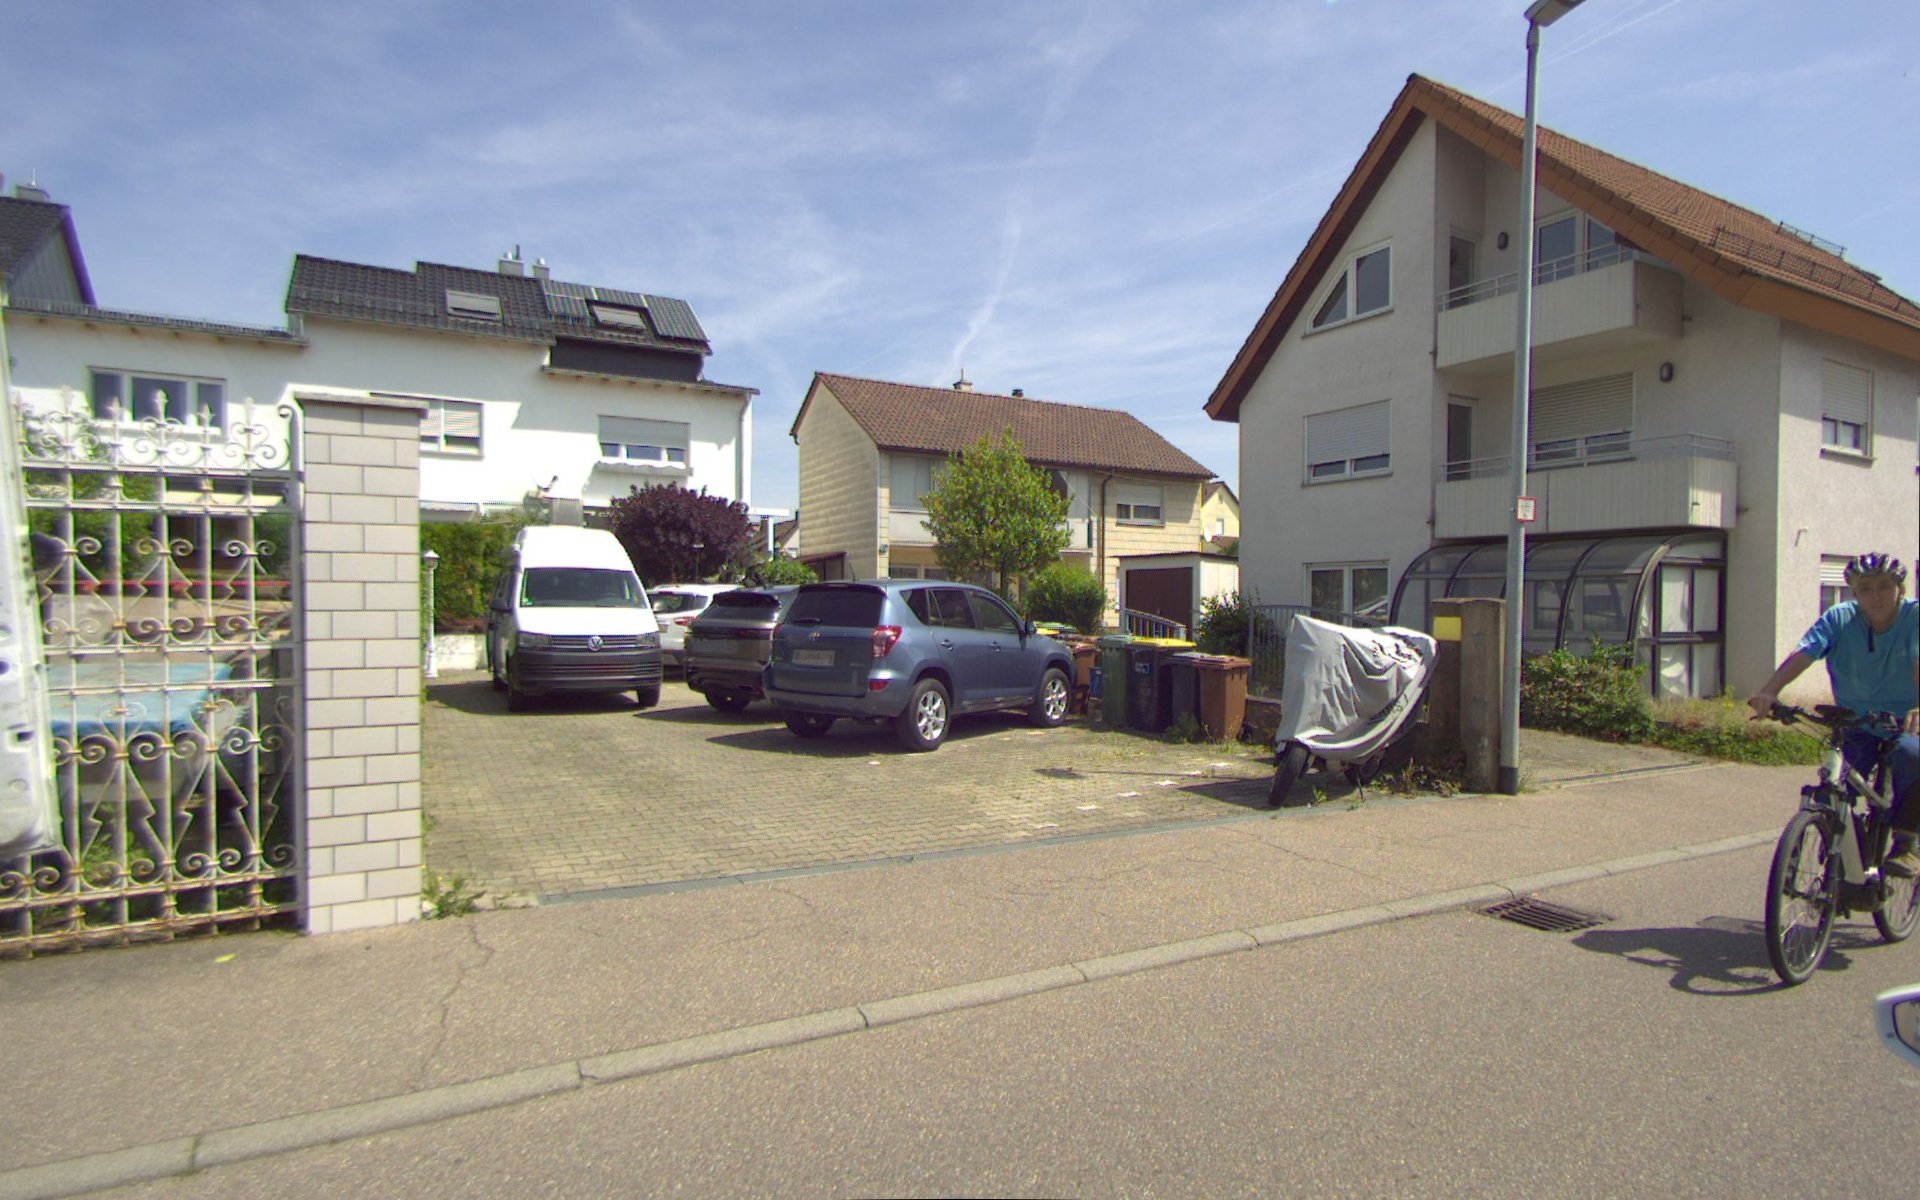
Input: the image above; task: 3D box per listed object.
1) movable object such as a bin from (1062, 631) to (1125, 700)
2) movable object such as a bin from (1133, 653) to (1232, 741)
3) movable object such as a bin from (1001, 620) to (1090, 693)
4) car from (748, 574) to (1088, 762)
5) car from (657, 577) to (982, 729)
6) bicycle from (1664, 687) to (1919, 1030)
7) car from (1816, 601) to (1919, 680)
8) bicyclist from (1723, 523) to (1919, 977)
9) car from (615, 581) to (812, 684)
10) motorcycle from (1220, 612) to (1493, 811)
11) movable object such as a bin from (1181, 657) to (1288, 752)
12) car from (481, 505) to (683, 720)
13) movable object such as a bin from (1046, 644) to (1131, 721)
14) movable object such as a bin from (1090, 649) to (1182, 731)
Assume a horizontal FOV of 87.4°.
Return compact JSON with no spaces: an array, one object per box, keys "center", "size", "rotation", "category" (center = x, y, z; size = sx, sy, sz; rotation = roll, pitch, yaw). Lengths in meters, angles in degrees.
[{"center":[1.886,0.908,14.223],"size":[0.473,0.910,0.808],"rotation":[1,1,-31],"category":"movable object such as a bin"},{"center":[2.535,1.080,11.464],"size":[0.764,0.917,0.796],"rotation":[1,0,-30],"category":"movable object such as a bin"},{"center":[1.318,0.860,15.694],"size":[0.850,1.055,1.178],"rotation":[1,1,-31],"category":"movable object such as a bin"},{"center":[-0.282,0.637,11.200],"size":[1.745,1.700,3.926],"rotation":[1,0,35],"category":"car"},{"center":[-1.713,0.624,13.294],"size":[1.709,1.700,4.084],"rotation":[1,-1,43],"category":"car"},{"center":[4.081,1.017,4.512],"size":[2.164,1.147,0.667],"rotation":[1,0,-31],"category":"bicycle"},{"center":[21.338,0.934,22.287],"size":[1.694,1.598,3.095],"rotation":[1,3,-30],"category":"car"},{"center":[4.102,0.606,4.547],"size":[0.931,1.823,0.709],"rotation":[1,0,-31],"category":"bicyclist"},{"center":[-4.486,0.529,18.676],"size":[1.742,1.701,3.348],"rotation":[2,1,29],"category":"car"},{"center":[3.237,0.826,8.112],"size":[2.325,1.411,0.779],"rotation":[1,0,-30],"category":"motorcycle"},{"center":[2.937,1.093,10.764],"size":[0.764,0.917,0.796],"rotation":[1,0,-30],"category":"movable object such as a bin"},{"center":[-5.573,0.165,14.393],"size":[1.943,2.526,4.780],"rotation":[1,0,-30],"category":"car"},{"center":[1.673,1.055,13.084],"size":[0.765,0.917,0.795],"rotation":[1,0,-32],"category":"movable object such as a bin"},{"center":[2.120,1.067,12.165],"size":[0.764,0.917,0.796],"rotation":[1,0,-30],"category":"movable object such as a bin"}]
